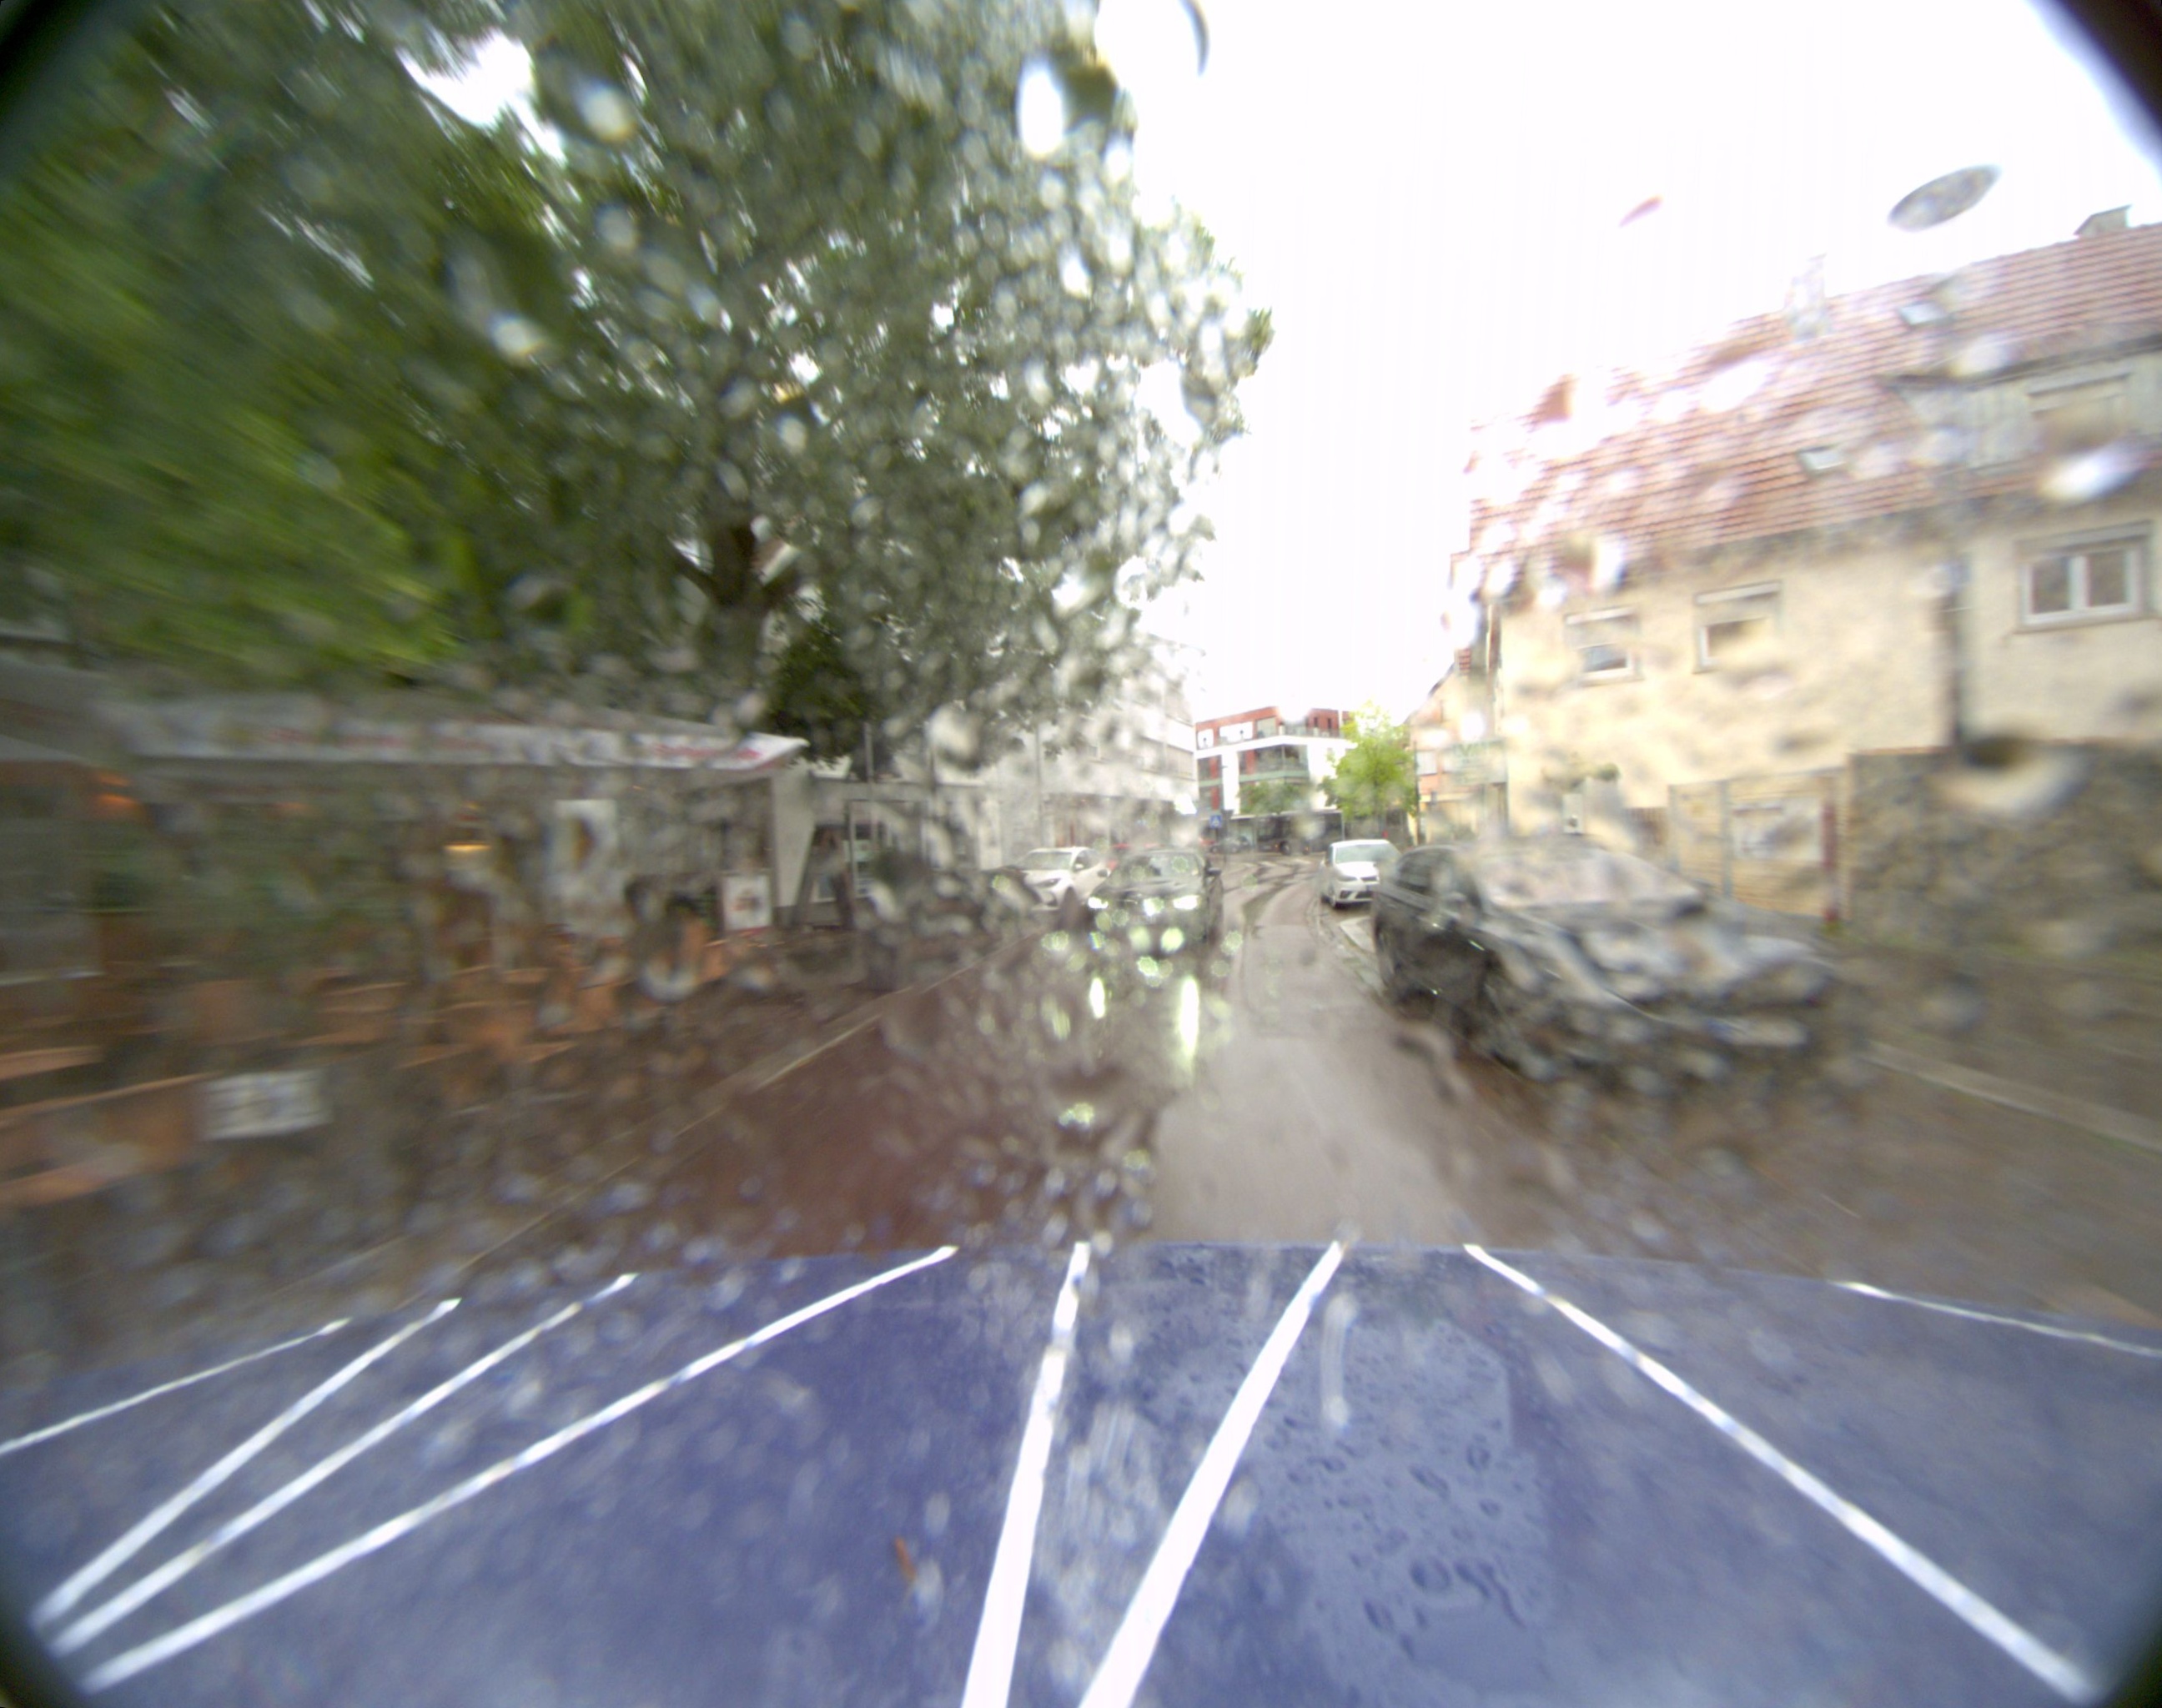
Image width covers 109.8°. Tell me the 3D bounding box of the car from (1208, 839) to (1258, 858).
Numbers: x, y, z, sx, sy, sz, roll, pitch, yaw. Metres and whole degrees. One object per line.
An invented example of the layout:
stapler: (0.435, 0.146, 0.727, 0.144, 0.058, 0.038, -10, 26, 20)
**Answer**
car: (13.050, -0.497, 65.419, 1.722, 1.565, 3.989, -3, 2, -39)

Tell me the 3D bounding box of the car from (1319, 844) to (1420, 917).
car: (6.365, 0.513, 17.109, 1.692, 1.415, 3.820, -1, 1, 15)

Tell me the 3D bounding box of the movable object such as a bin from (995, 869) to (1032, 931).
movable object such as a bin: (-1.287, 0.871, 14.599, 0.534, 1.143, 0.501, -1, 2, 14)

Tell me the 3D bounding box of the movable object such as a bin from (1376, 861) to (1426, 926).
movable object such as a bin: (5.663, 0.689, 13.466, 0.692, 1.080, 0.547, -3, 2, 15)

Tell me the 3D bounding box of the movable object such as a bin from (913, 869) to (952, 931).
movable object such as a bin: (-2.826, 0.869, 14.493, 0.504, 1.143, 0.581, -1, 2, 14)

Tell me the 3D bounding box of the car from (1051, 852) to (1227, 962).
car: (1.214, 0.723, 12.631, 1.996, 1.398, 4.898, -2, 0, 15)

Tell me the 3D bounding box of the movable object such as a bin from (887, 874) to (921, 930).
movable object such as a bin: (-3.451, 0.921, 14.806, 0.430, 1.041, 0.501, -1, 2, 14)

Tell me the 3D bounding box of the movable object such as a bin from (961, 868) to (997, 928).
movable object such as a bin: (-2.004, 0.860, 14.956, 0.531, 1.143, 0.501, -1, 2, 14)

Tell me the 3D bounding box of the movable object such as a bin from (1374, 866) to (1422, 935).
movable object such as a bin: (5.323, 0.774, 12.776, 0.660, 1.103, 0.624, -1, 2, 15)

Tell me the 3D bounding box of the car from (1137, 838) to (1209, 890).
car: (3.430, 0.298, 27.716, 1.692, 1.680, 4.283, -1, 2, 19)

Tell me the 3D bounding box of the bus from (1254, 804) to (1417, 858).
bus: (16.669, -1.468, 50.907, 2.684, 3.282, 10.664, -3, 2, -37)

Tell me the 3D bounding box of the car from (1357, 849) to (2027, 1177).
car: (3.711, 0.771, 5.871, 1.997, 1.446, 4.375, -1, 2, 7)

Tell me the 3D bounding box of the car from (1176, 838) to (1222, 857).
car: (10.811, -0.594, 69.593, 1.722, 1.565, 3.989, -3, 2, -39)

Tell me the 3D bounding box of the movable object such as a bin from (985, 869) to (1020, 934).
movable object such as a bin: (-1.446, 0.874, 14.058, 0.477, 1.162, 0.489, -1, 2, 14)

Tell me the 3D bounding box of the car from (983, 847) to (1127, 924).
car: (-0.438, 0.636, 17.707, 1.691, 1.530, 4.410, -1, 0, 22)

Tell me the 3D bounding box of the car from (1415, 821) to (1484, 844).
car: (26.213, -1.517, 54.098, 3.988, 1.478, 2.004, 0, 3, 43)

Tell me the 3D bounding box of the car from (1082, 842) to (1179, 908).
car: (1.573, 0.552, 22.647, 1.691, 1.680, 3.962, -1, 2, 22)

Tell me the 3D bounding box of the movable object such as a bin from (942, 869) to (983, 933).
movable object such as a bin: (-2.238, 0.876, 14.355, 0.545, 1.143, 0.586, -1, 2, 14)
